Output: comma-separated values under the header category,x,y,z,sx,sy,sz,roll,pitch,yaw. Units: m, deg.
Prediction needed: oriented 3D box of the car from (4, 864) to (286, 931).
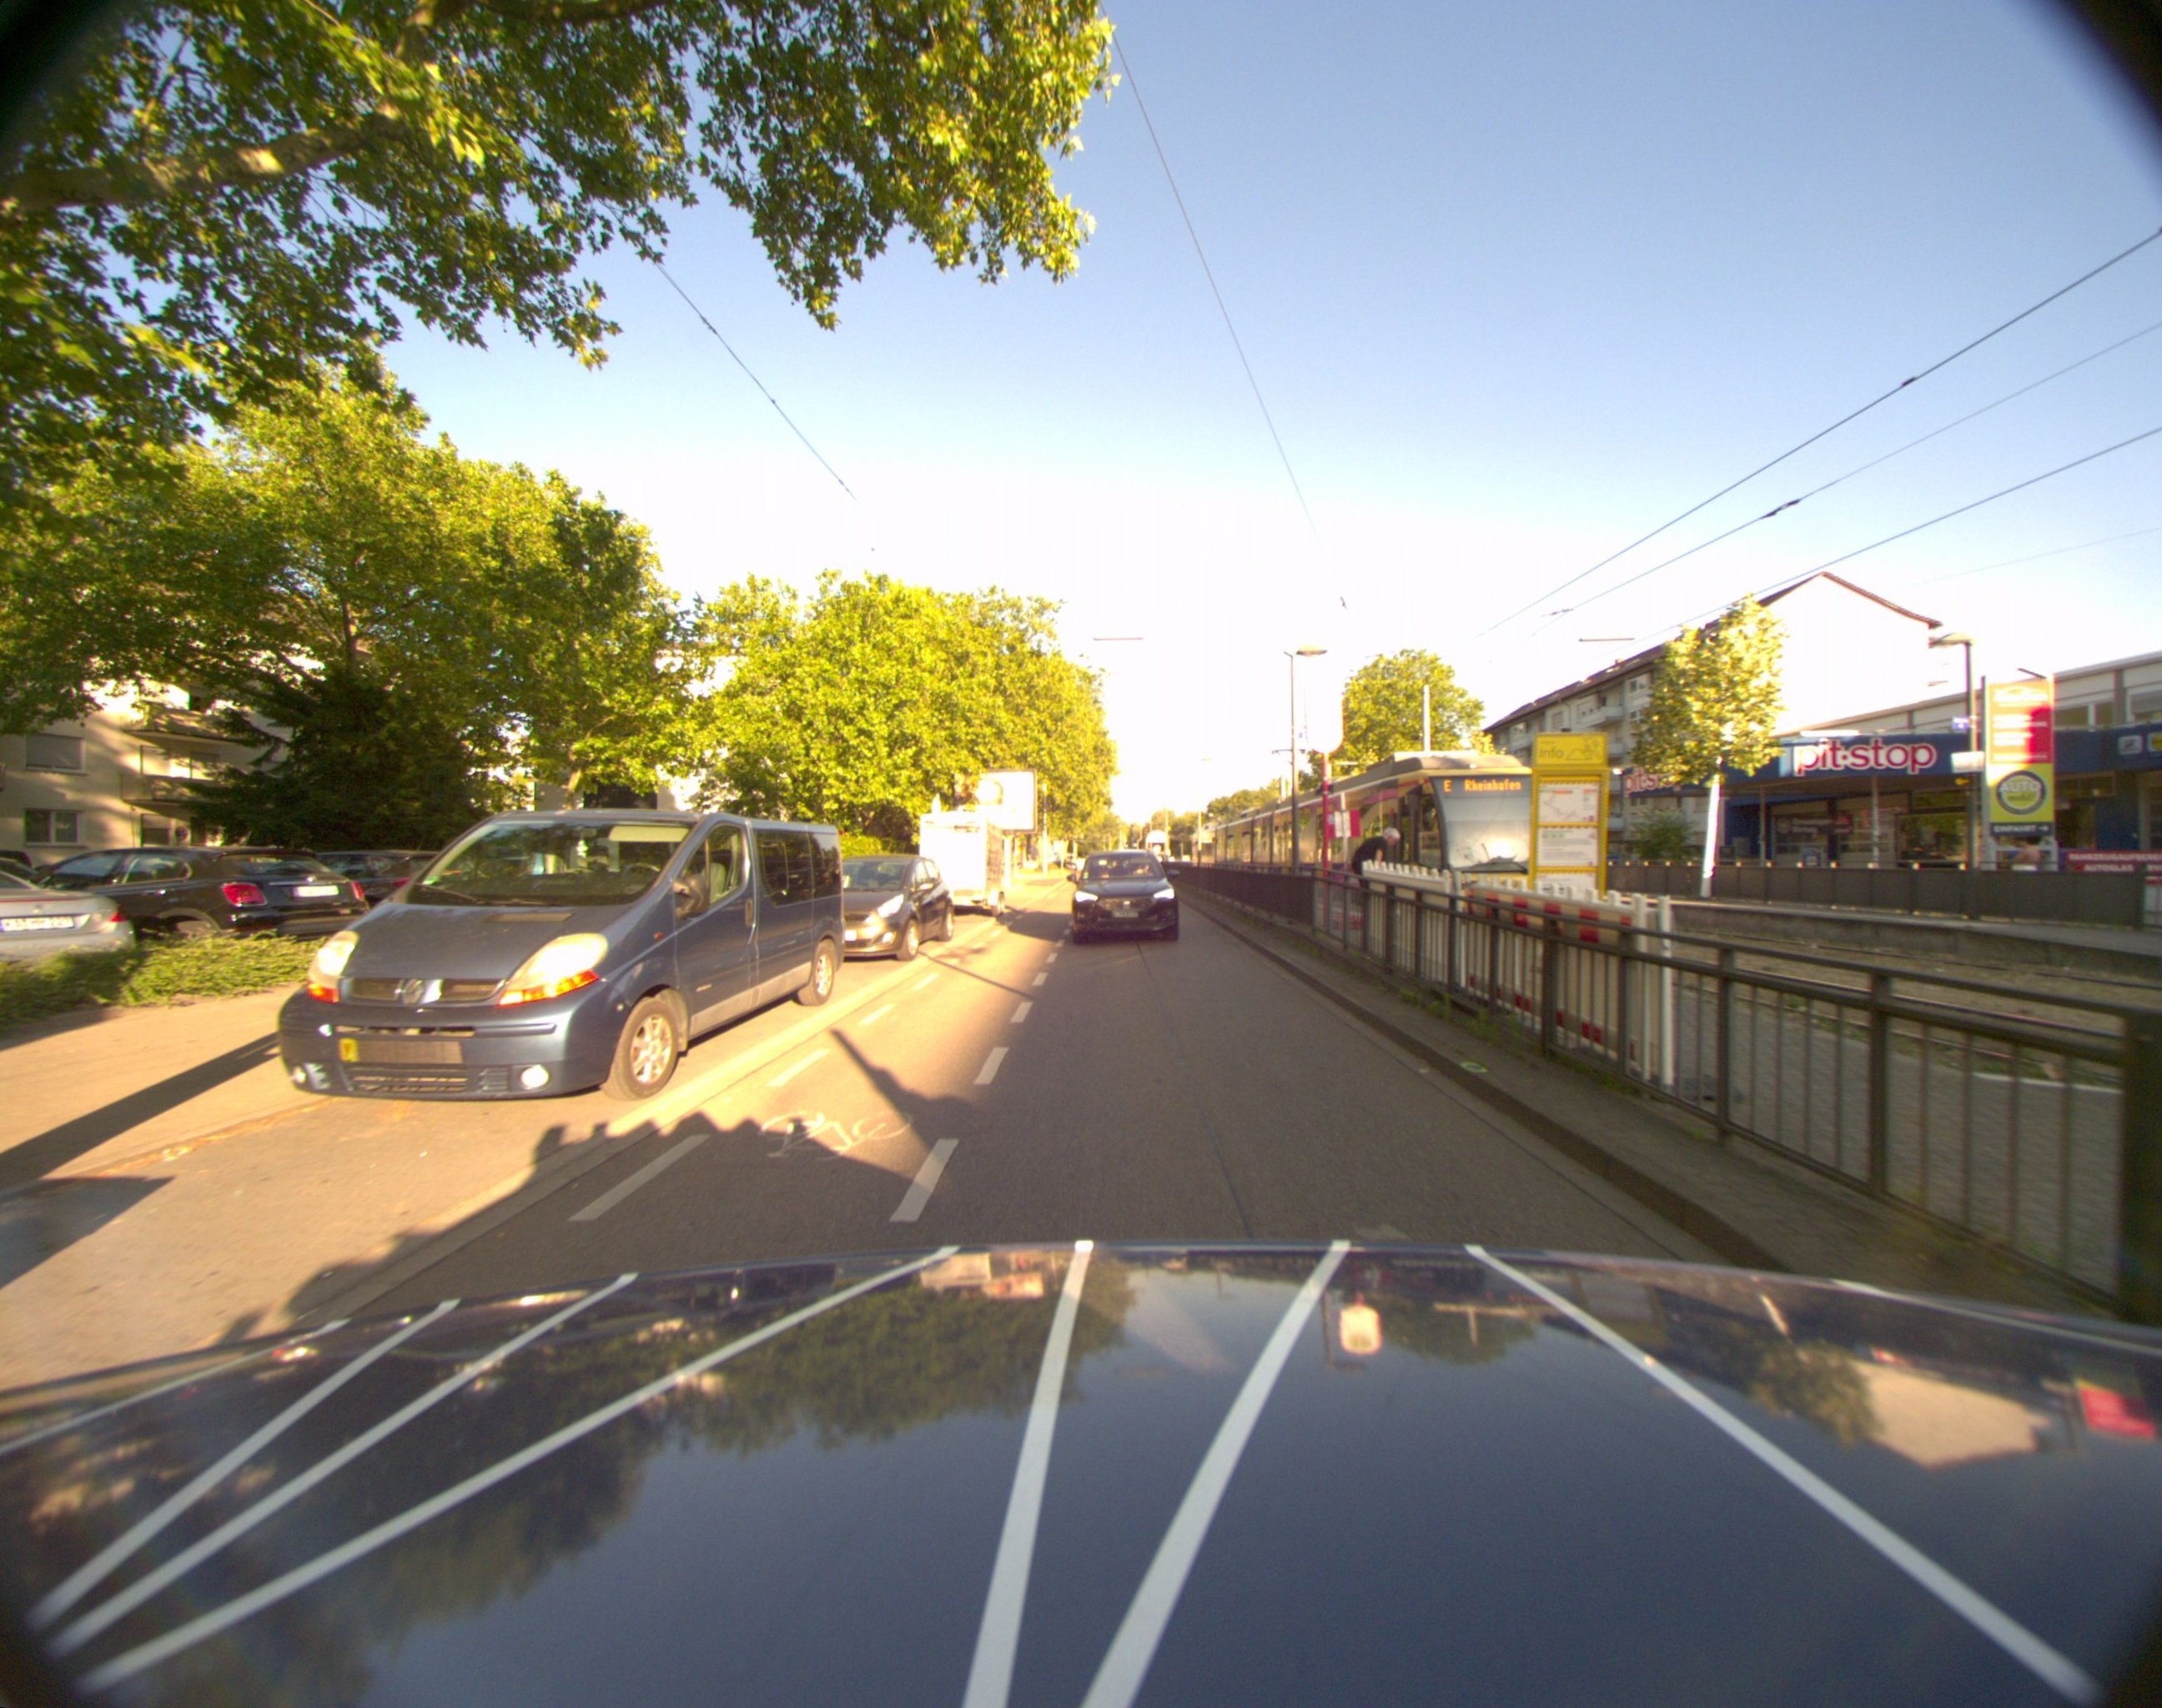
category,x,y,z,sx,sy,sz,roll,pitch,yaw
car,-22.633,1.013,18.535,4.293,1.487,2.000,0,0,-1

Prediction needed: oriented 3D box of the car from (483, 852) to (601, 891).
category,x,y,z,sx,sy,sz,roll,pitch,yaw
car,-25.013,0.769,35.469,1.996,1.741,4.204,0,0,13

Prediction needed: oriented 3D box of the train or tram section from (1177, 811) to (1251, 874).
category,x,y,z,sx,sy,sz,roll,pitch,yaw
train or tram section,8.167,-0.715,47.981,3.043,3.497,10.096,1,1,1

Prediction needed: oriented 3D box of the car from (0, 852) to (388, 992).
category,x,y,z,sx,sy,sz,roll,pitch,yaw
car,-11.605,0.776,9.621,4.121,1.589,1.803,0,0,3

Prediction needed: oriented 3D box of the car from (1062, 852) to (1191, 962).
category,x,y,z,sx,sy,sz,roll,pitch,yaw
car,0.670,0.818,13.722,1.910,1.606,4.085,-3,0,-1

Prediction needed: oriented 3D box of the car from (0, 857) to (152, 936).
category,x,y,z,sx,sy,sz,roll,pitch,yaw
car,-22.720,0.845,15.777,4.293,1.526,2.000,0,0,-1

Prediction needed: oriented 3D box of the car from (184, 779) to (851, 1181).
category,x,y,z,sx,sy,sz,roll,pitch,yaw
car,-3.617,0.652,6.209,1.889,2.066,4.563,0,0,2

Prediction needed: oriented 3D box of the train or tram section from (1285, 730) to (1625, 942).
category,x,y,z,sx,sy,sz,roll,pitch,yaw
train or tram section,7.573,-0.345,17.696,3.043,3.497,10.096,1,1,1

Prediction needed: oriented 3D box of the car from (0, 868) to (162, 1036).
category,x,y,z,sx,sy,sz,roll,pitch,yaw
car,-11.727,0.894,7.161,4.121,1.486,1.803,0,0,3

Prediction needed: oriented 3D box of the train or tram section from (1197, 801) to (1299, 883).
category,x,y,z,sx,sy,sz,roll,pitch,yaw
train or tram section,7.982,-0.583,37.886,3.043,3.497,10.096,1,1,1

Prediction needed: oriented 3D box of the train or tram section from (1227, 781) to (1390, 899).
category,x,y,z,sx,sy,sz,roll,pitch,yaw
train or tram section,7.776,-0.466,27.798,3.043,3.497,10.096,1,1,1

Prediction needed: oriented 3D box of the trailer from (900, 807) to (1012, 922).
category,x,y,z,sx,sy,sz,roll,pitch,yaw
trailer,-3.011,0.227,19.385,1.889,2.573,4.651,0,0,2

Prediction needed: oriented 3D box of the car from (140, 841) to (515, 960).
category,x,y,z,sx,sy,sz,roll,pitch,yaw
car,-11.576,0.677,11.869,4.121,1.541,1.803,-3,0,3

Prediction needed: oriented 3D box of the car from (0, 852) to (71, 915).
category,x,y,z,sx,sy,sz,roll,pitch,yaw
car,-27.720,0.697,18.185,4.293,1.487,2.000,0,0,-1

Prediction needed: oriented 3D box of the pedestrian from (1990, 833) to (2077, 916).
category,x,y,z,sx,sy,sz,roll,pitch,yaw
pedestrian,22.553,0.482,18.014,0.755,1.871,1.000,-3,0,1

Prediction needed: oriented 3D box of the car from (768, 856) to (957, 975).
category,x,y,z,sx,sy,sz,roll,pitch,yaw
car,-3.343,0.862,12.488,1.800,1.621,4.001,0,0,2

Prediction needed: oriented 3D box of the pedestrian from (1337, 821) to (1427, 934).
category,x,y,z,sx,sy,sz,roll,pitch,yaw
pedestrian,4.326,0.320,10.958,0.918,1.541,0.789,-2,1,-6
